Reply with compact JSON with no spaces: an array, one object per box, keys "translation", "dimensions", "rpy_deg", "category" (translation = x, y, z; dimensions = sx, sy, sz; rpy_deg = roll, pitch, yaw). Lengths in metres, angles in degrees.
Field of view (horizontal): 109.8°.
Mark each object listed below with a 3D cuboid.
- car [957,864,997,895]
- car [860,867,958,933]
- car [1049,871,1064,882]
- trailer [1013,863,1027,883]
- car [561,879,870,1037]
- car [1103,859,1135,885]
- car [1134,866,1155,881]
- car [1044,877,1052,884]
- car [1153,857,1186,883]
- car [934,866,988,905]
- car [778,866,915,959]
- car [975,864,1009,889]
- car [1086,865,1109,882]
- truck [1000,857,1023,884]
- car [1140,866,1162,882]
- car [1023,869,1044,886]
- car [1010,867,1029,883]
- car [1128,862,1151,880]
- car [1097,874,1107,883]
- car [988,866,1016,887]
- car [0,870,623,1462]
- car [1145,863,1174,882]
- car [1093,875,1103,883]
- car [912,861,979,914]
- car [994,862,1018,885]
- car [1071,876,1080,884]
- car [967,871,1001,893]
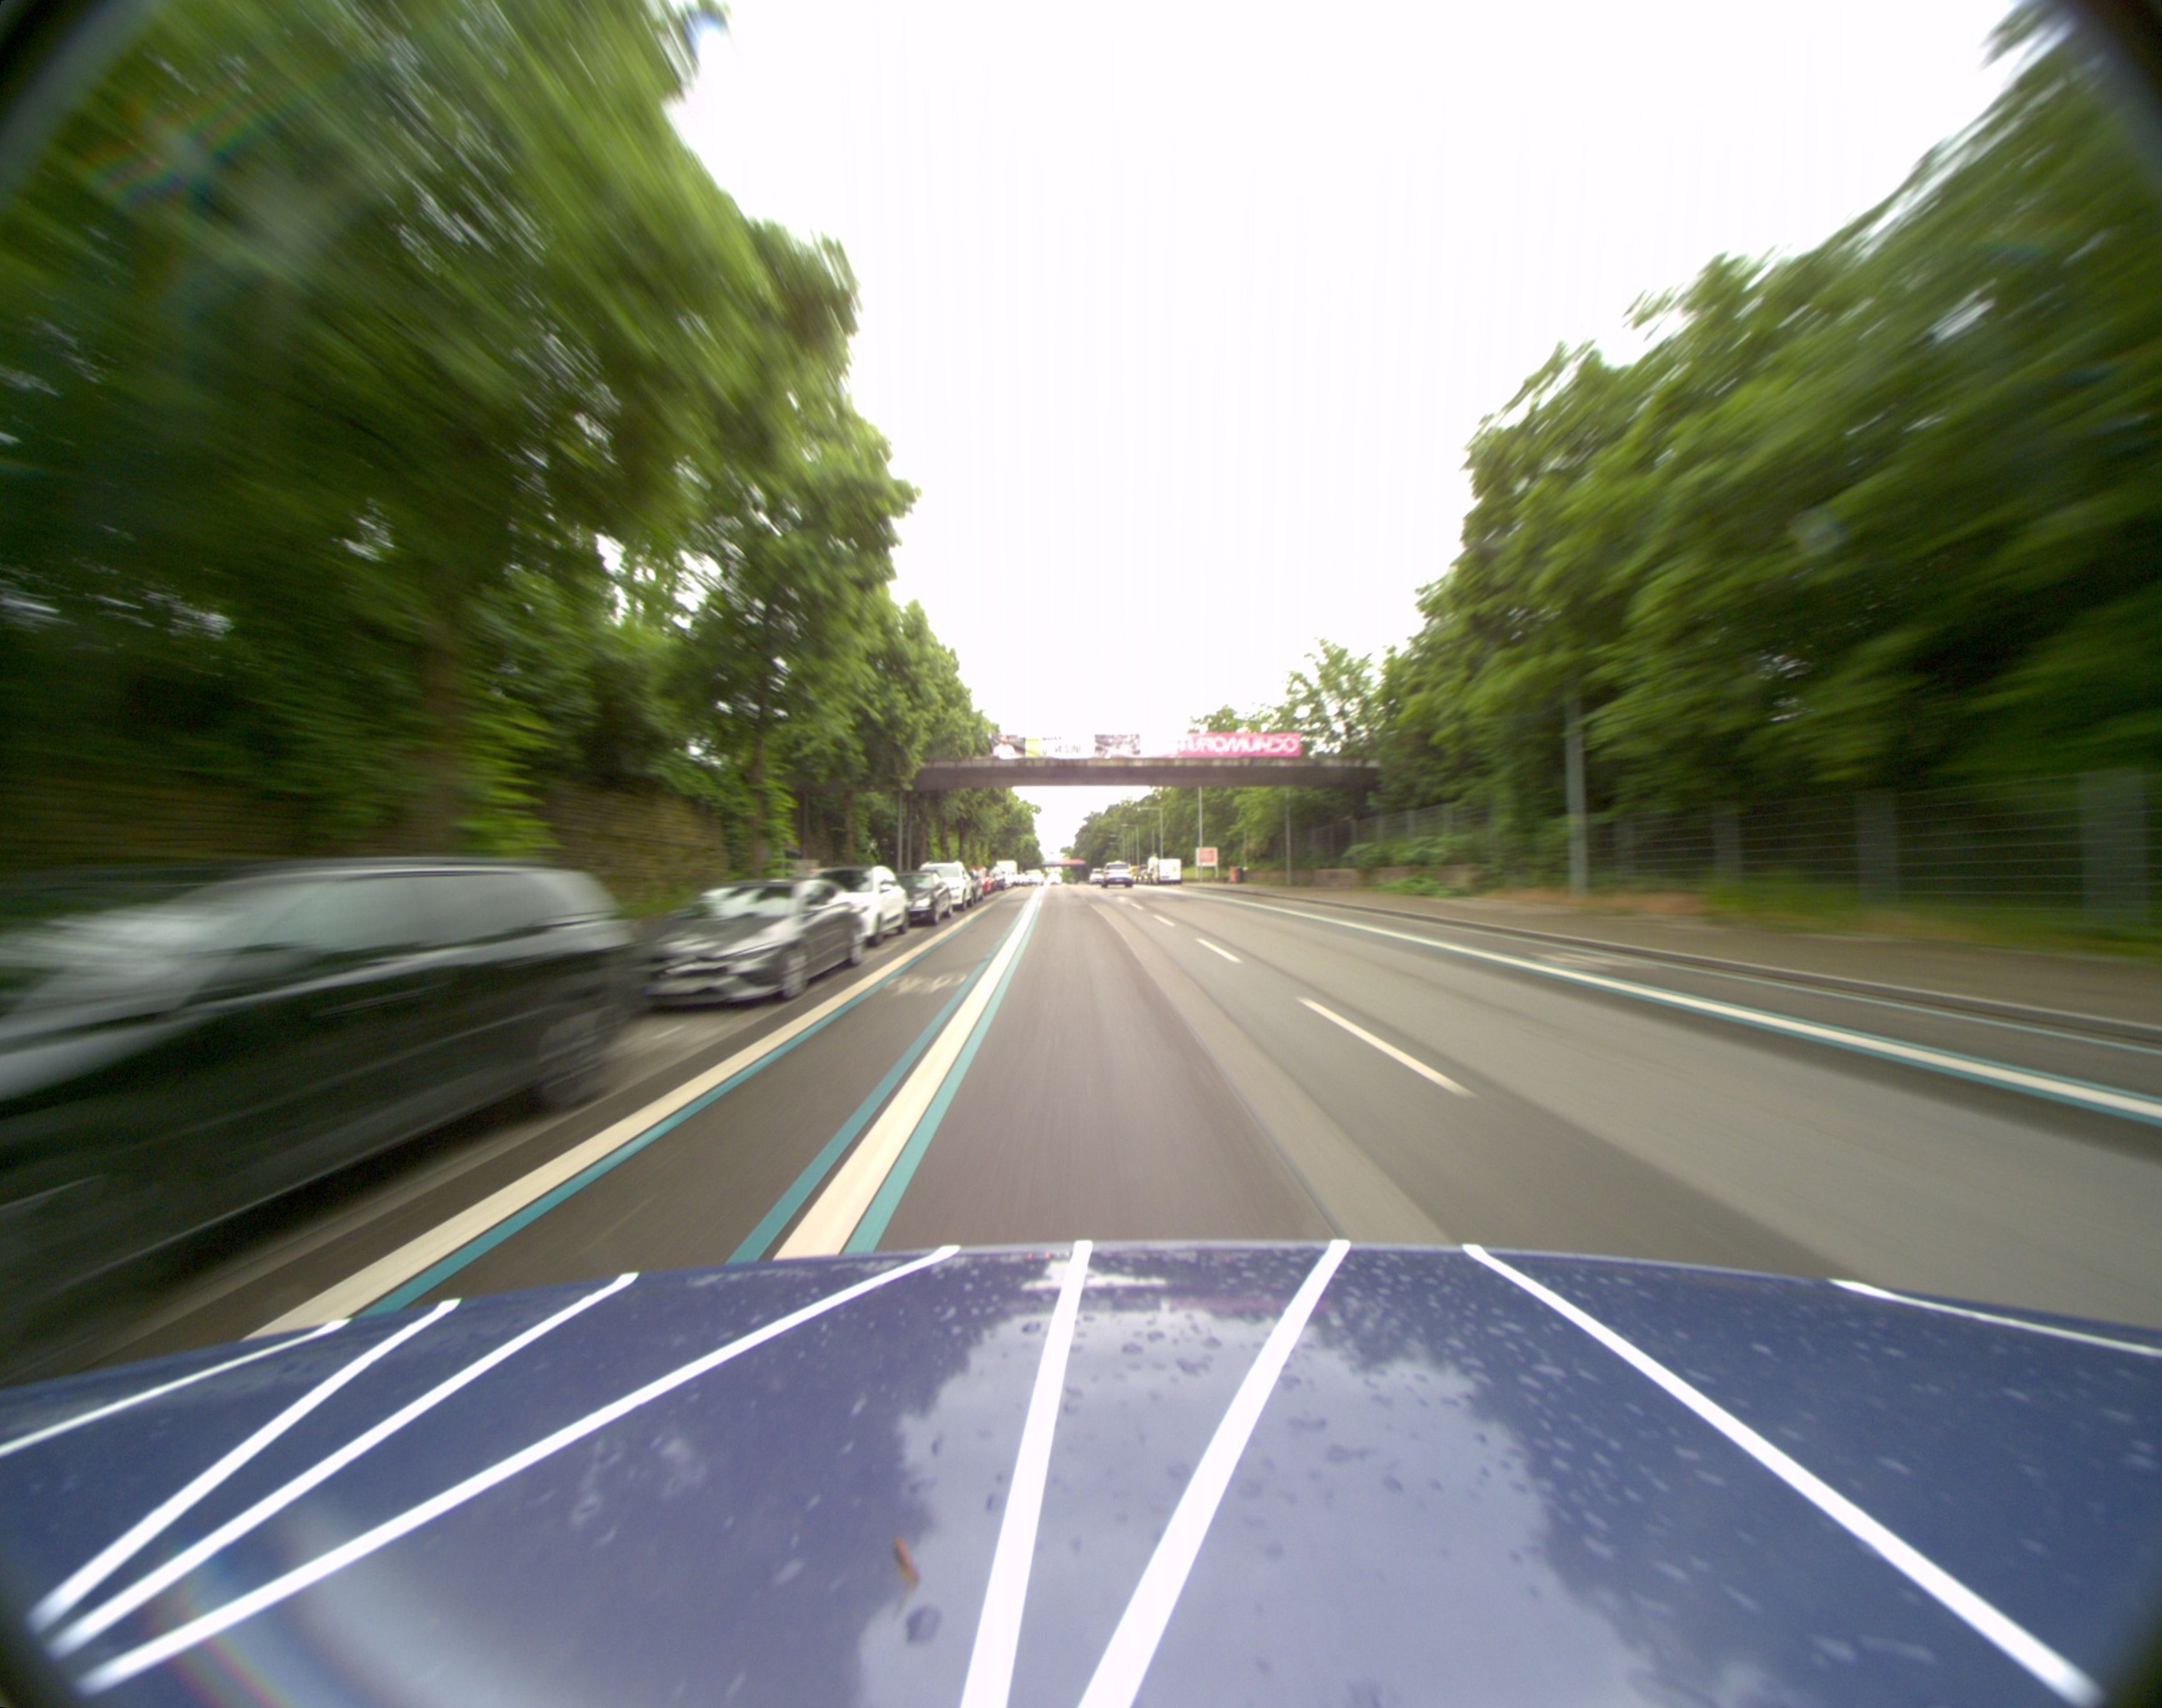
[{"translation":[-5.278,1.337,38.837],"dimensions":[1.563,1.457,3.627],"rpy_deg":[-2,-3,-2],"category":"car"},{"translation":[-4.459,1.140,20.388],"dimensions":[1.723,1.368,4.556],"rpy_deg":[-1,1,-2],"category":"car"},{"translation":[-3.229,2.972,100.086],"dimensions":[1.828,1.453,3.882],"rpy_deg":[-2,-2,-2],"category":"car"},{"translation":[-6.868,2.175,86.144],"dimensions":[1.350,2.255,3.564],"rpy_deg":[-2,-2,-2],"category":"trailer"},{"translation":[-4.257,1.112,9.804],"dimensions":[1.779,1.340,4.465],"rpy_deg":[-2,0,0],"category":"car"},{"translation":[2.439,1.170,49.829],"dimensions":[1.801,1.567,4.101],"rpy_deg":[-1,0,-1],"category":"car"},{"translation":[6.516,2.030,77.843],"dimensions":[1.714,1.495,4.151],"rpy_deg":[0,-2,-1],"category":"car"},{"translation":[-8.033,6.364,184.209],"dimensions":[1.734,1.578,3.672],"rpy_deg":[-2,-2,-2],"category":"car"},{"translation":[6.812,1.276,59.137],"dimensions":[1.983,1.902,5.229],"rpy_deg":[-1,-2,0],"category":"car"},{"translation":[-4.980,1.268,32.016],"dimensions":[1.677,1.385,4.449],"rpy_deg":[-1,0,-2],"category":"car"},{"translation":[-4.615,1.078,15.496],"dimensions":[1.666,1.526,3.740],"rpy_deg":[-2,0,-2],"category":"car"},{"translation":[-5.837,1.481,50.295],"dimensions":[1.999,1.550,4.642],"rpy_deg":[-1,-2,-5],"category":"car"},{"translation":[1.616,1.910,74.164],"dimensions":[1.977,1.542,3.869],"rpy_deg":[-1,-1,-2],"category":"car"},{"translation":[-6.241,1.502,68.585],"dimensions":[1.723,2.319,4.000],"rpy_deg":[-1,-2,-2],"category":"truck"},{"translation":[6.693,1.924,72.956],"dimensions":[1.612,1.437,4.038],"rpy_deg":[0,-2,-2],"category":"car"},{"translation":[-4.148,2.054,67.160],"dimensions":[1.726,1.389,4.591],"rpy_deg":[-1,-2,-3],"category":"car"},{"translation":[-6.590,2.215,80.740],"dimensions":[1.761,1.575,4.412],"rpy_deg":[-1,-2,-8],"category":"car"},{"translation":[6.355,1.888,83.407],"dimensions":[1.999,1.901,4.845],"rpy_deg":[-1,-2,-2],"category":"car"},{"translation":[4.067,4.783,148.623],"dimensions":[1.823,1.754,4.001],"rpy_deg":[0,-3,-2],"category":"car"},{"translation":[-5.777,1.645,55.931],"dimensions":[1.664,1.417,4.619],"rpy_deg":[-1,-2,-1],"category":"car"},{"translation":[-4.257,1.006,3.229],"dimensions":[1.999,1.636,4.346],"rpy_deg":[-2,1,-2],"category":"car"},{"translation":[6.833,1.666,66.635],"dimensions":[1.829,1.606,4.663],"rpy_deg":[0,-2,-3],"category":"car"},{"translation":[3.504,5.278,157.711],"dimensions":[1.823,1.533,4.544],"rpy_deg":[0,-3,-2],"category":"car"},{"translation":[-4.563,1.080,26.061],"dimensions":[1.718,1.609,4.260],"rpy_deg":[-1,0,-3],"category":"car"},{"translation":[-6.172,1.635,62.917],"dimensions":[1.727,1.779,4.346],"rpy_deg":[-1,-2,-2],"category":"car"},{"translation":[-1.227,5.584,161.375],"dimensions":[1.715,1.608,4.151],"rpy_deg":[1,-2,-2],"category":"car"},{"translation":[-5.691,1.623,44.880],"dimensions":[1.630,1.182,4.183],"rpy_deg":[-1,-2,-3],"category":"car"}]
